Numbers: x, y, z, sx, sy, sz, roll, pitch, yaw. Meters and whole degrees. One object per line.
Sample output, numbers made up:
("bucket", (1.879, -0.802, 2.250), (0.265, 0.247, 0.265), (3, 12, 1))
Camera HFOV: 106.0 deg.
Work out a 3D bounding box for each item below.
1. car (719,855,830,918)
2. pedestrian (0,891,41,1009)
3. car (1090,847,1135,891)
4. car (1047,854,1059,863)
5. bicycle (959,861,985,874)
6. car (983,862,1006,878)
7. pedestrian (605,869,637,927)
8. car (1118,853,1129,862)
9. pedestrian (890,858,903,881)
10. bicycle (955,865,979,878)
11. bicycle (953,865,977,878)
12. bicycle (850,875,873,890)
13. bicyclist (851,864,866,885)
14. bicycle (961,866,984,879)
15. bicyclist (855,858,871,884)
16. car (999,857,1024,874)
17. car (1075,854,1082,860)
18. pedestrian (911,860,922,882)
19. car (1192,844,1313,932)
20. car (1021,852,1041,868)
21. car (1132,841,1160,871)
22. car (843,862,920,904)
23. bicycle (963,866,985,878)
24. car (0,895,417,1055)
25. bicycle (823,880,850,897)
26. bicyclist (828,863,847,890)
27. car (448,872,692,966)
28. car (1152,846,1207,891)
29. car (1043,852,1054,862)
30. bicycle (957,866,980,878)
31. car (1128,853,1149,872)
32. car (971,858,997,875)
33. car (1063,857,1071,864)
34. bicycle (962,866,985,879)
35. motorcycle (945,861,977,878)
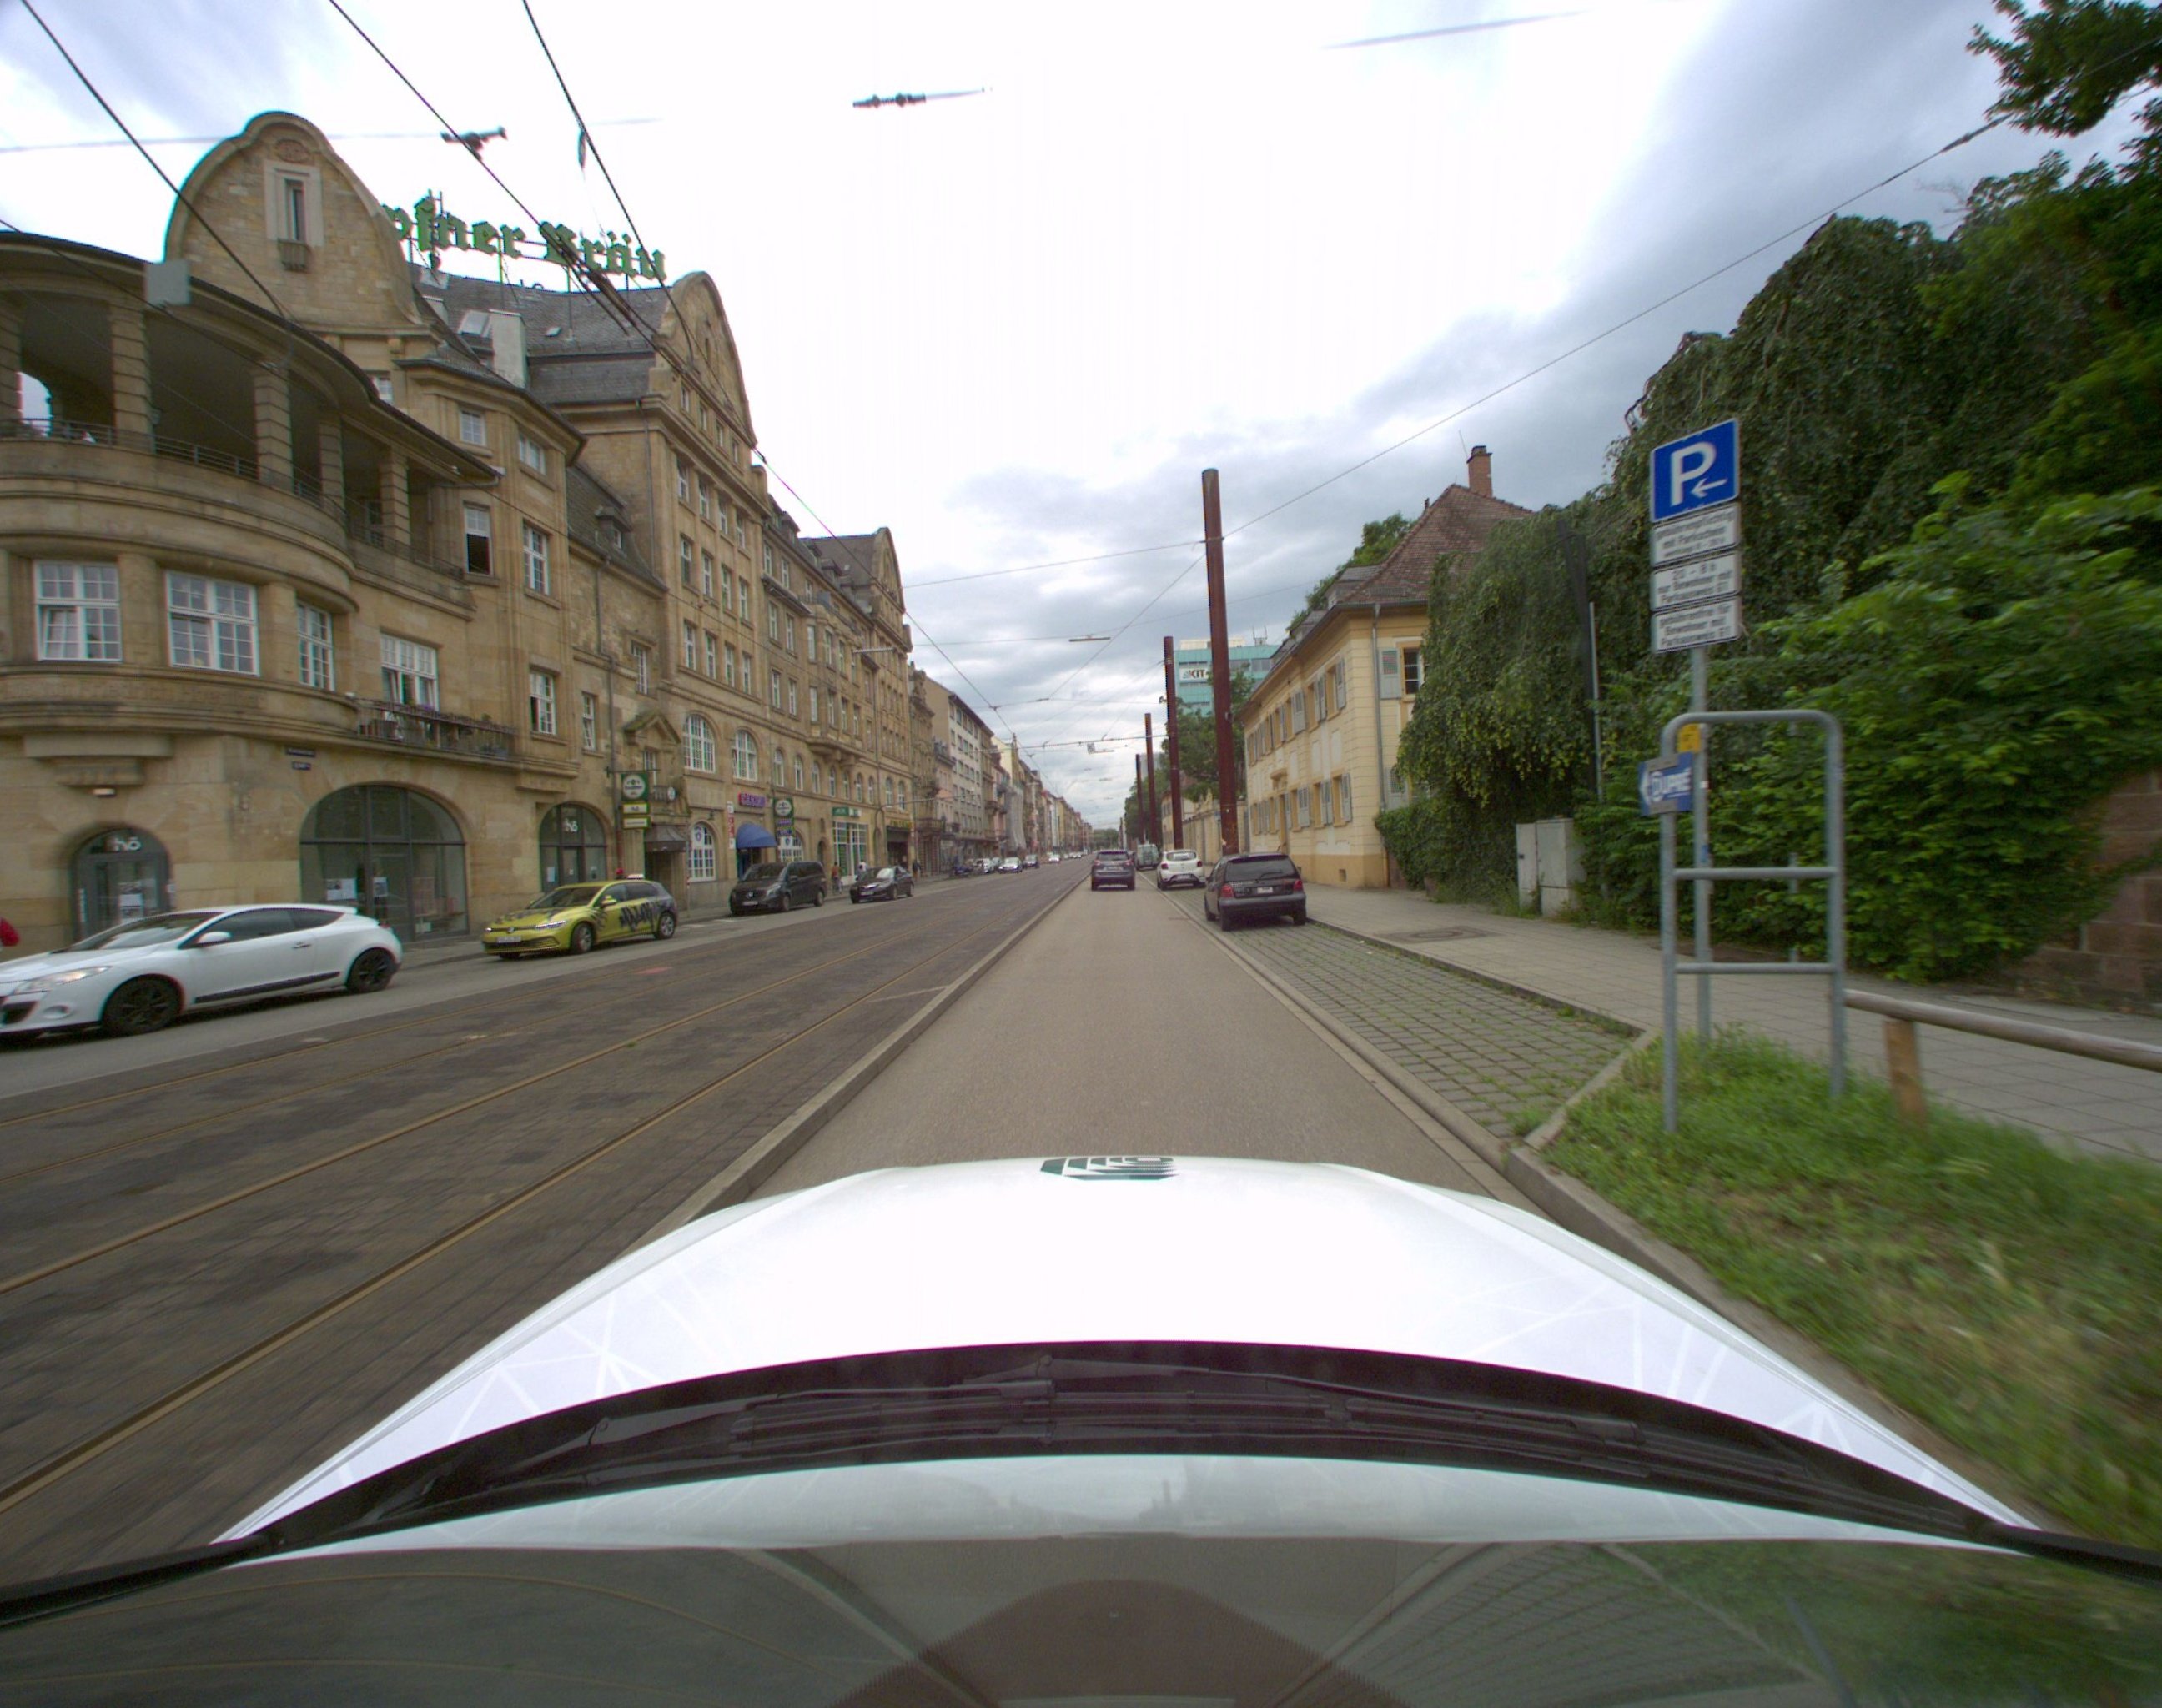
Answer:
("car", (-11.238, 1.126, 30.280), (1.892, 1.977, 5.099), (-5, 0, 2))
("pedestrian", (-16.334, 1.441, 12.258), (0.532, 1.719, 0.628), (-3, 0, -19))
("car", (1.327, 0.605, 34.600), (1.743, 1.756, 3.925), (1, 0, 2))
("car", (-4.619, 0.697, 135.710), (1.681, 1.420, 4.137), (-3, 0, 2))
("bicycle", (-10.027, 1.255, 74.960), (2.228, 1.126, 0.503), (-3, 0, -6))
("car", (-9.021, 1.671, 85.157), (1.769, 1.504, 4.404), (-3, 0, 2))
("pedestrian", (-14.345, 1.364, 25.396), (0.493, 1.728, 0.765), (-3, 0, -1))
("car", (7.608, 0.658, 146.216), (1.769, 1.420, 4.137), (-3, 0, 2))
("pedestrian", (-13.543, 1.141, 59.737), (0.682, 1.613, 0.742), (-2, 0, 2))
("bicycle", (-9.773, 1.517, 69.817), (1.963, 1.001, 0.462), (-3, 0, -6))
("bicycle", (-9.826, 1.502, 69.179), (1.919, 1.001, 0.462), (-3, 0, -6))
("bicycle", (-12.572, 1.647, 46.644), (0.579, 0.745, 2.252), (-2, 0, 2))
("bicyclist", (-12.613, 1.158, 46.248), (0.609, 1.117, 0.660), (-2, 0, 2))
("bicycle", (-9.620, 1.650, 72.071), (1.963, 1.001, 0.462), (-3, 0, -6))
("bicyclist", (-12.595, 0.979, 47.070), (0.608, 1.487, 0.972), (-2, 0, 2))
("car", (-6.502, 1.016, 76.706), (1.752, 1.449, 4.617), (-3, 0, 2))
("car", (-0.666, 0.790, 215.468), (1.988, 1.635, 3.998), (-2, -1, -1))
("pedestrian", (-12.143, 1.266, 59.979), (0.566, 1.598, 0.718), (-3, 0, 2))
("car", (3.325, 0.607, 16.535), (1.631, 1.433, 3.932), (-5, 0, 2))
("car", (-5.721, 0.688, 94.122), (1.752, 1.671, 4.617), (-3, 0, 2))
("car", (5.119, 0.167, 64.623), (1.844, 2.115, 4.987), (-5, 0, 2))
("car", (-8.214, 1.167, 33.981), (1.821, 1.433, 4.668), (-5, 0, 1))
("bicycle", (-9.698, 1.655, 73.801), (1.963, 1.001, 0.462), (-3, 0, -6))
("car", (-11.335, 1.363, 10.400), (1.917, 1.380, 4.264), (-3, 0, 5))
("bicycle", (-12.523, 1.743, 41.822), (0.579, 0.745, 2.252), (-2, 0, 2))
("bicyclist", (-12.539, 1.161, 41.929), (0.608, 1.324, 0.972), (-2, 0, 2))
("car", (-10.610, 1.266, 17.404), (1.888, 1.511, 4.439), (-4, 0, 8))
("car", (3.916, 0.553, 33.023), (1.749, 1.574, 3.932), (-5, 0, 2))
("car", (-6.089, 0.560, 154.179), (1.988, 1.706, 3.998), (-2, -1, -1))
("bicycle", (-9.773, 1.555, 70.903), (1.963, 1.001, 0.462), (-3, 0, -6))
("car", (5.535, 0.804, 78.824), (1.743, 1.596, 3.925), (-5, 0, 2))
("car", (-9.324, 1.165, 78.758), (1.769, 1.504, 4.404), (-3, 0, 2))
("car", (-3.617, 1.627, 212.481), (1.988, 1.635, 3.998), (-2, -1, -1))
("bicycle", (-9.679, 1.649, 73.220), (1.963, 1.001, 0.462), (-3, 0, -6))
("motorcycle", (-9.905, 1.248, 67.252), (2.354, 1.302, 0.874), (-3, 0, -35))
